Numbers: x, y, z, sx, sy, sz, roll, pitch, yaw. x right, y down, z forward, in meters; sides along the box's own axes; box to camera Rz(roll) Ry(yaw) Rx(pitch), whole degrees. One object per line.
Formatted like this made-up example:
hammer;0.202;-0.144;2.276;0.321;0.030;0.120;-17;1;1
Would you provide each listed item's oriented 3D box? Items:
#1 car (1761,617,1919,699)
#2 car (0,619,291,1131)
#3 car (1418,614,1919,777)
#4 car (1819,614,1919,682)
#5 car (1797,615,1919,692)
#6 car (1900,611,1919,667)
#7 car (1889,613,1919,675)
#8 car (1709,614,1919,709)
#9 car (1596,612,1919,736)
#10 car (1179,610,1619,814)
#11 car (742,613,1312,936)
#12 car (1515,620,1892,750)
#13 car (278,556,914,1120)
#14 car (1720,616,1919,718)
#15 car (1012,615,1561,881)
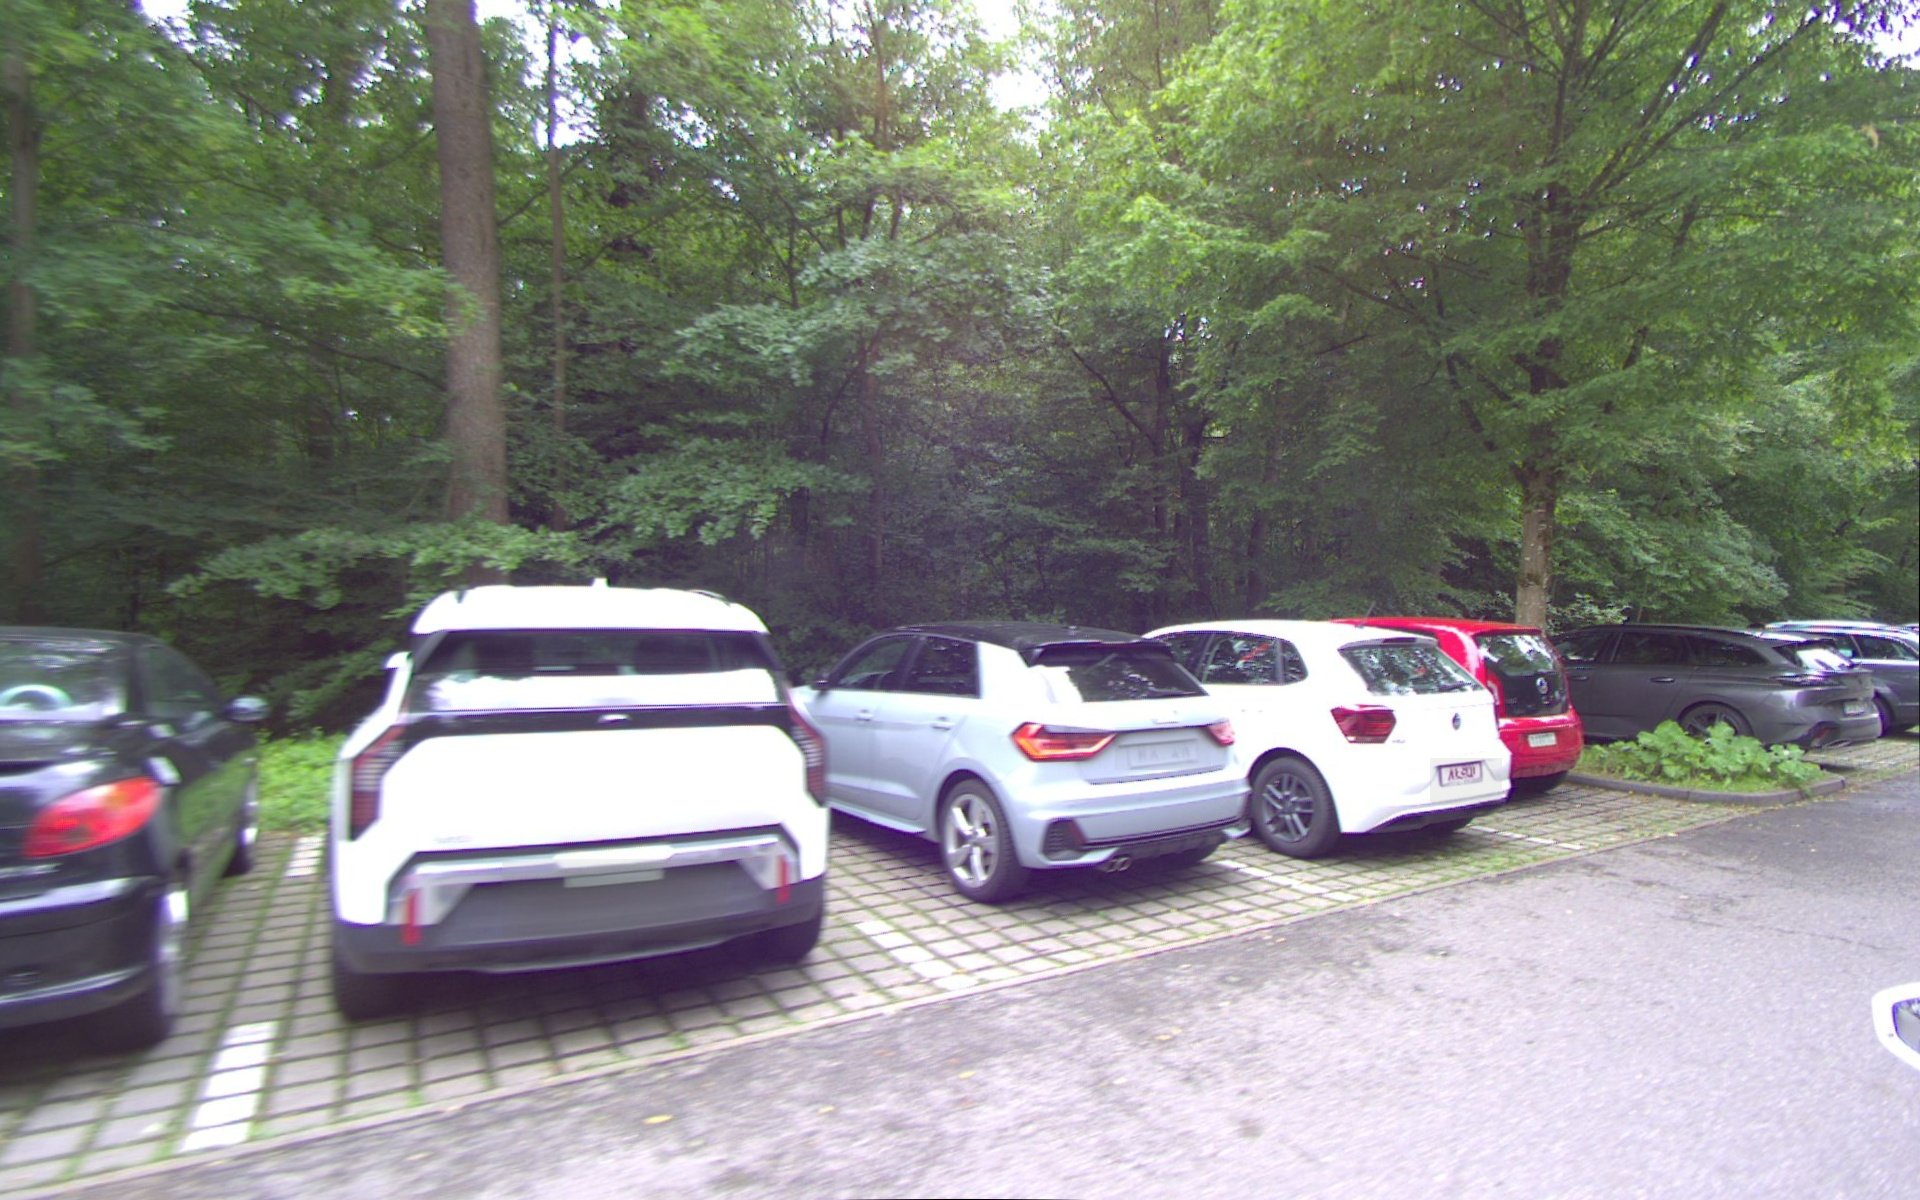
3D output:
car;18.330;1.090;19.120;2.068;1.467;4.525;1;0;-40
car;-3.980;0.792;4.202;1.709;1.374;3.771;1;0;-30
car;7.972;0.927;11.759;2.013;1.443;4.380;1;0;-32
car;23.398;1.155;23.982;1.833;1.571;4.197;1;0;-41
car;20.213;1.102;20.480;1.851;1.506;4.531;1;0;-36
car;29.642;1.162;28.213;1.909;1.605;4.481;1;0;-37
car;25.914;1.136;24.907;1.903;1.576;4.002;1;0;-38
car;16.072;1.049;17.671;1.875;1.506;4.331;1;-1;-38
car;12.031;0.961;14.629;2.035;1.506;4.242;1;0;-32
car;3.856;0.855;9.345;1.665;1.501;3.447;1;-1;-31
car;0.156;0.826;6.681;1.878;1.440;3.778;1;-1;-34
car;9.851;1.019;13.601;1.736;1.405;3.737;1;0;-31
car;-1.822;0.716;5.156;1.969;1.649;3.952;1;0;-22
car;14.321;1.019;16.013;1.665;1.463;3.195;1;0;-37
car;2.184;0.855;7.656;1.850;1.438;3.708;1;0;-31
